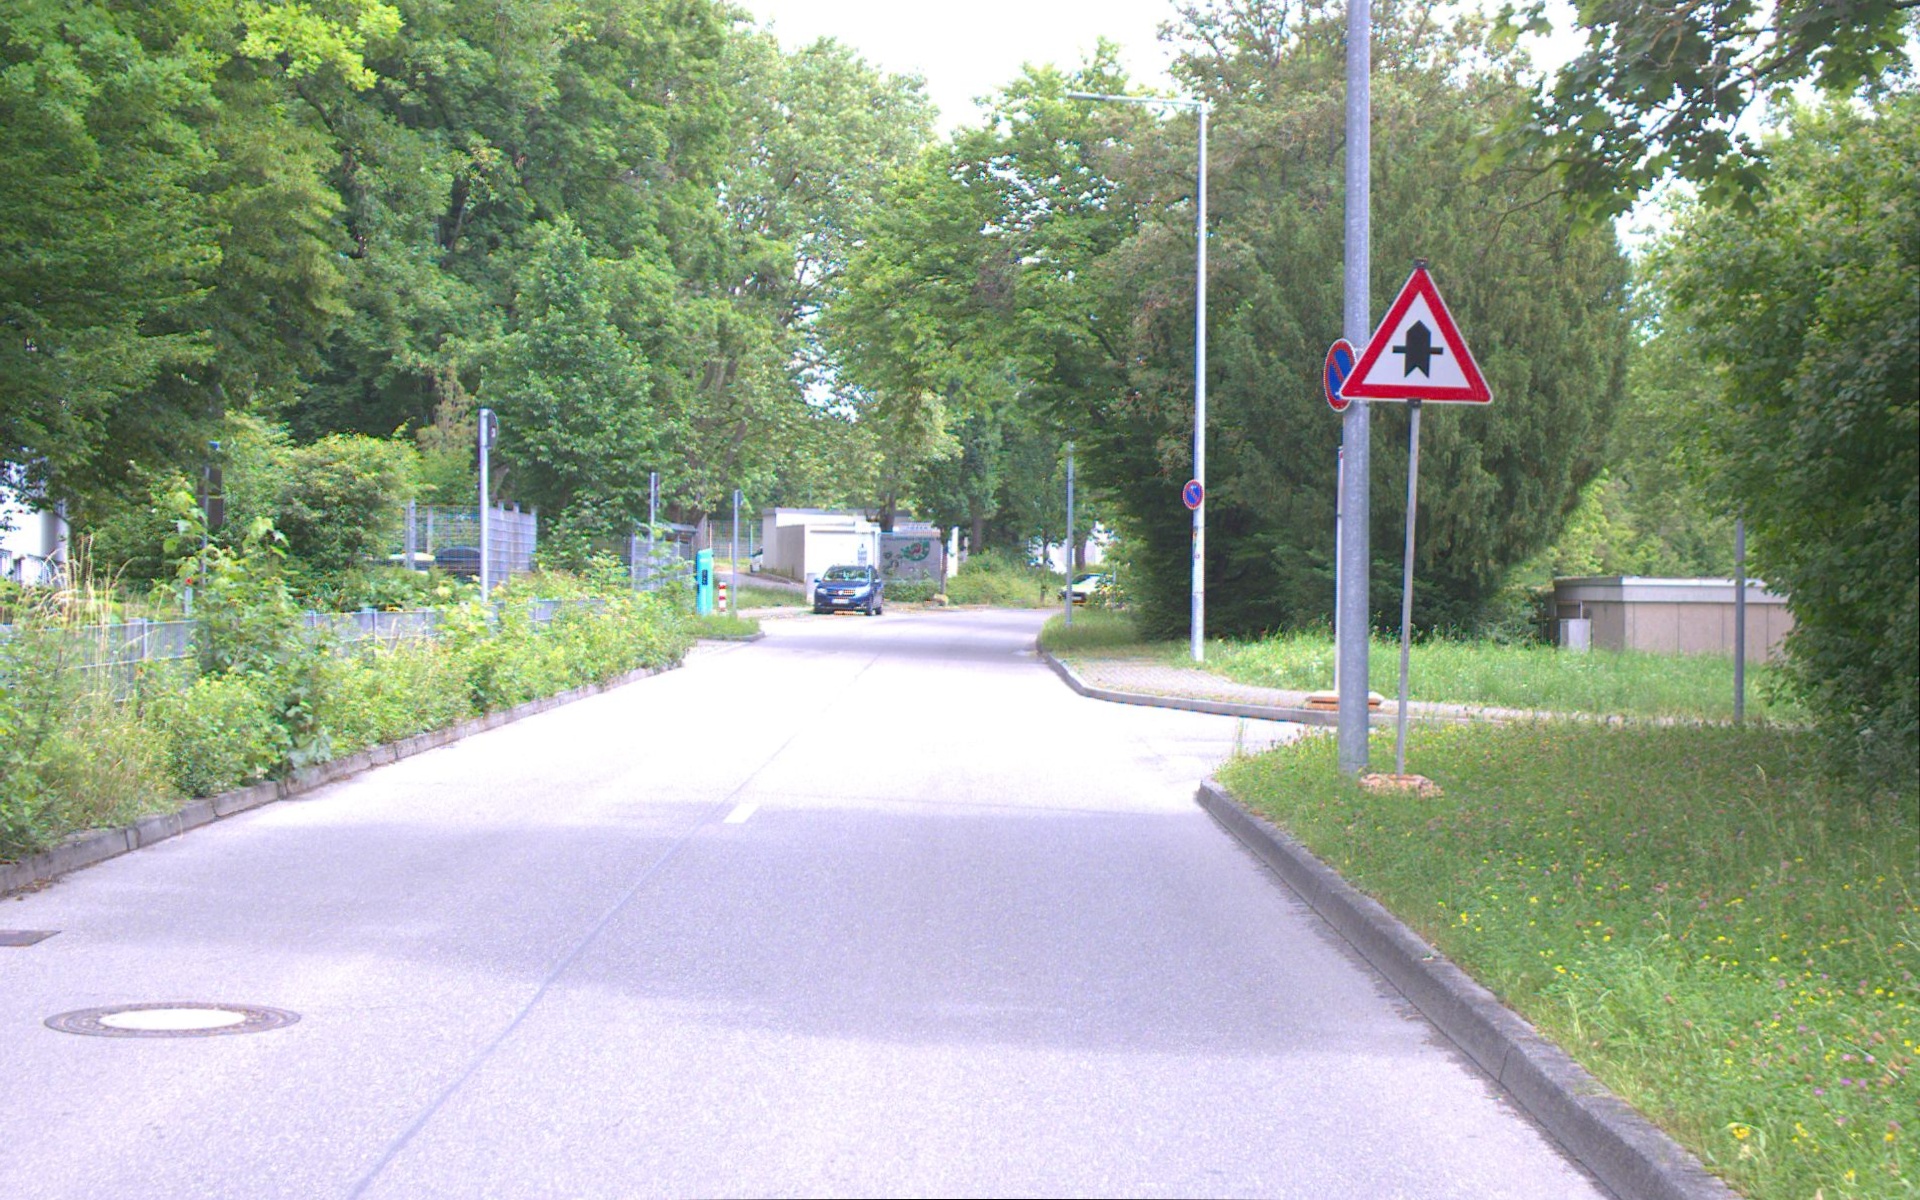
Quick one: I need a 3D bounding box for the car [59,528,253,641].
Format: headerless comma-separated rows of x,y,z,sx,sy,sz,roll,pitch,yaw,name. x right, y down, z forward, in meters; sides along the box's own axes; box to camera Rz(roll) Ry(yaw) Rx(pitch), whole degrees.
-14.910,-0.300,63.967,1.994,2.007,3.998,1,1,12,car

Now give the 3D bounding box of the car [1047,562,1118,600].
5.034,-0.776,140.674,1.702,1.398,4.269,3,0,19,car

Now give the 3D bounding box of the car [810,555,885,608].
-3.360,-0.559,103.346,1.680,1.506,4.430,2,0,6,car
